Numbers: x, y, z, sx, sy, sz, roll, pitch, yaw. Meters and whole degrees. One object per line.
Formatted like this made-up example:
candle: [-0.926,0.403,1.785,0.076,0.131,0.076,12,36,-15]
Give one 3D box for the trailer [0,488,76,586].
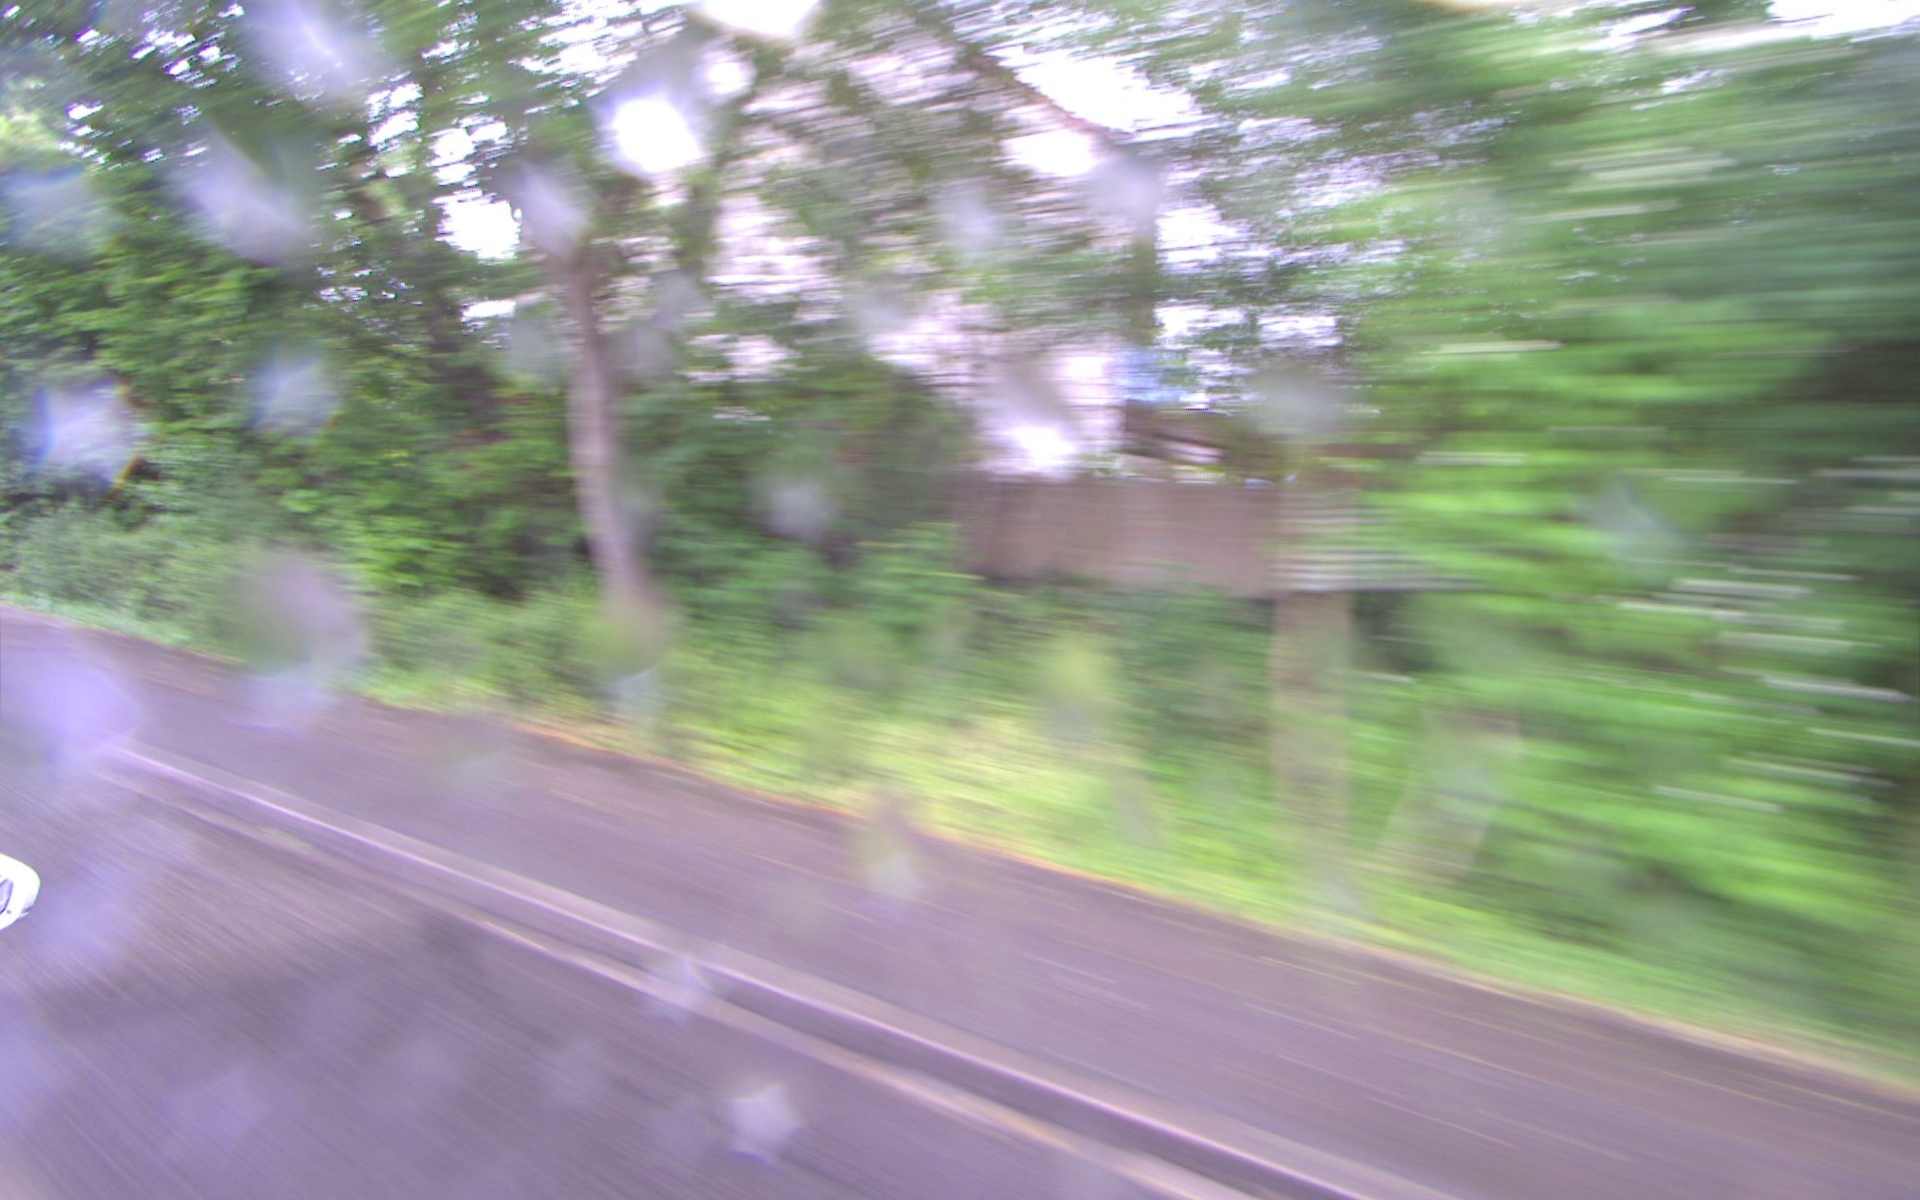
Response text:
trailer: [-19.552,-1.527,19.368,1.178,1.661,3.366,8,-8,31]
